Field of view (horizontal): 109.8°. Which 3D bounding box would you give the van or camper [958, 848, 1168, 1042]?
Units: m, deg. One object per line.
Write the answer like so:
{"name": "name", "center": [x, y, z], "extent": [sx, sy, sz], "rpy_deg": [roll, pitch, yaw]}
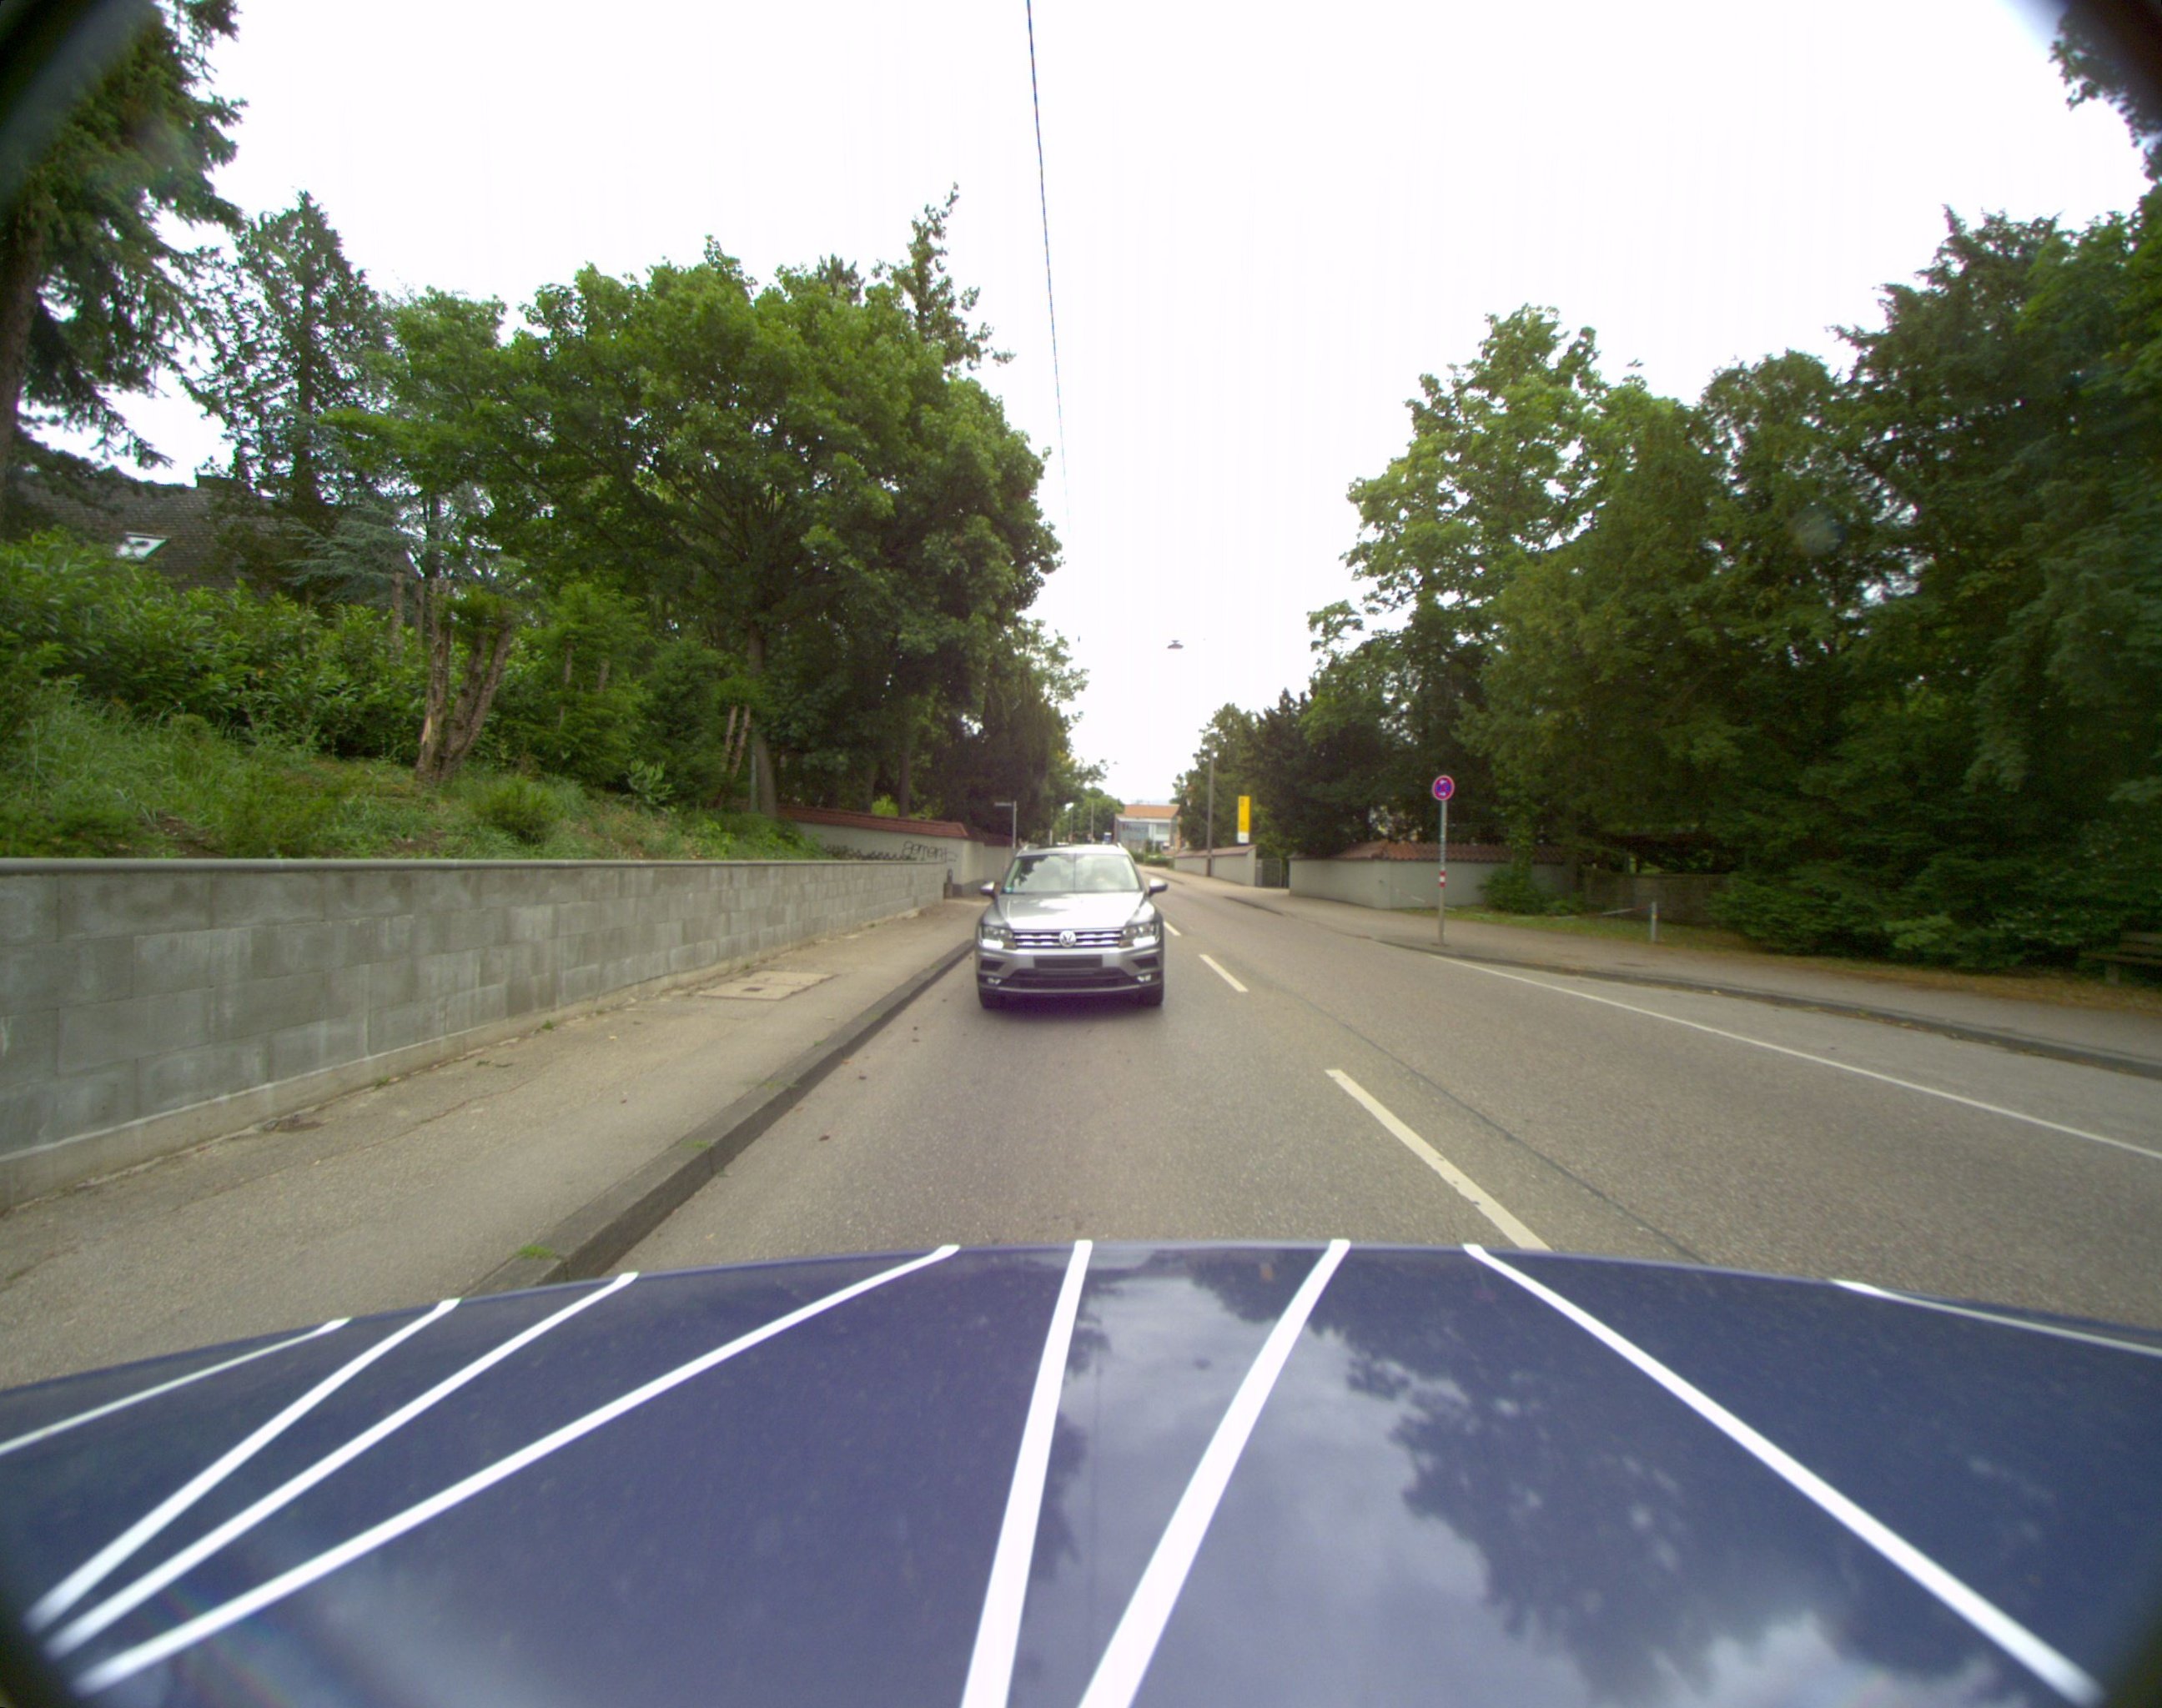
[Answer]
{"name": "van or camper", "center": [-0.126, 0.772, 8.644], "extent": [1.800, 1.663, 4.198], "rpy_deg": [0, 0, 1]}
